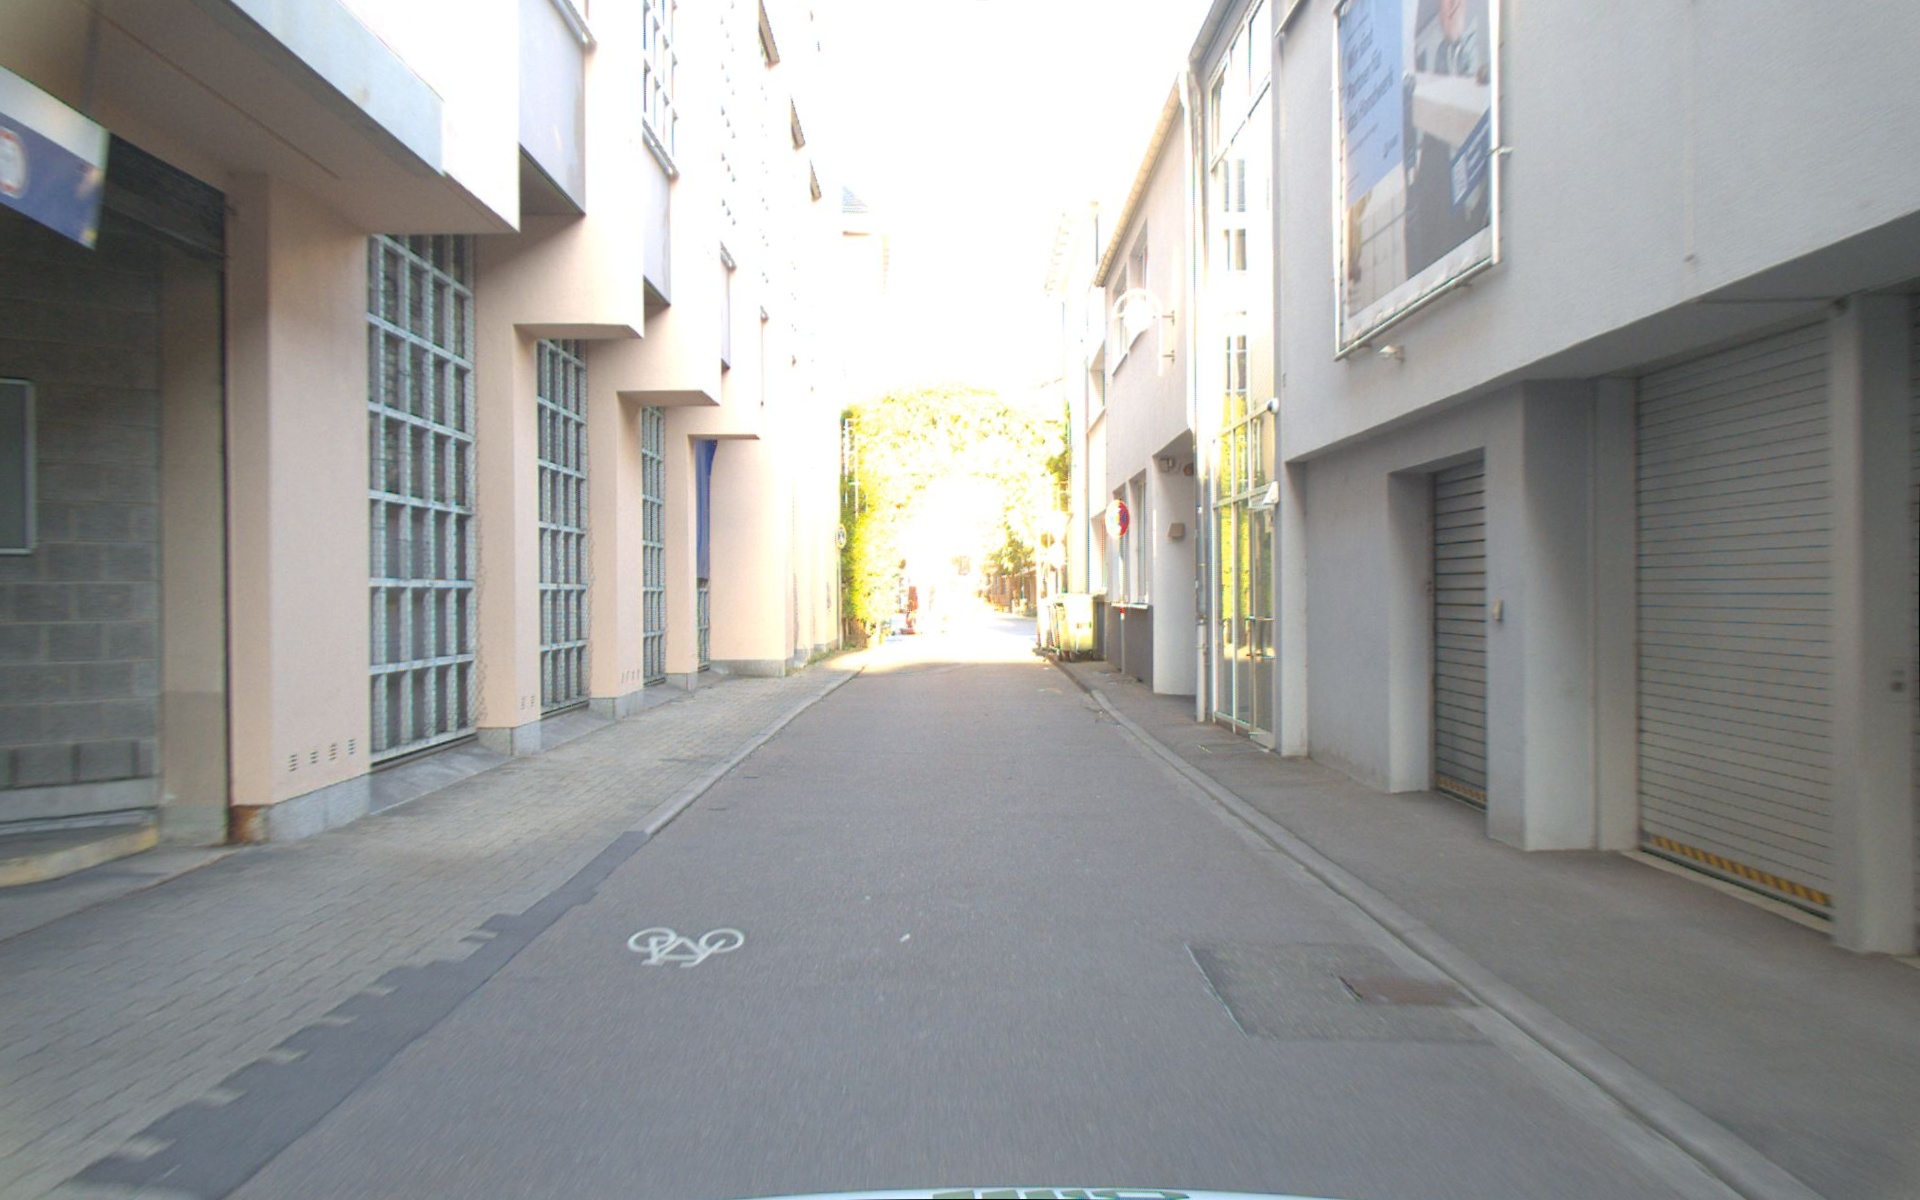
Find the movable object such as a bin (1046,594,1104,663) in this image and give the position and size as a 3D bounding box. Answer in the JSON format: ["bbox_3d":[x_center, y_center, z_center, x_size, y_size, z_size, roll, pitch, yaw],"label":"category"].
[{"bbox_3d":[2.440,0.592,35.313,1.043,1.390,1.341,-3,0,-2],"label":"movable object such as a bin"}]

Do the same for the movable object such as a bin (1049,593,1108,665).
[{"bbox_3d":[2.413,0.585,33.908,0.919,1.390,1.340,-3,0,-6],"label":"movable object such as a bin"}]
